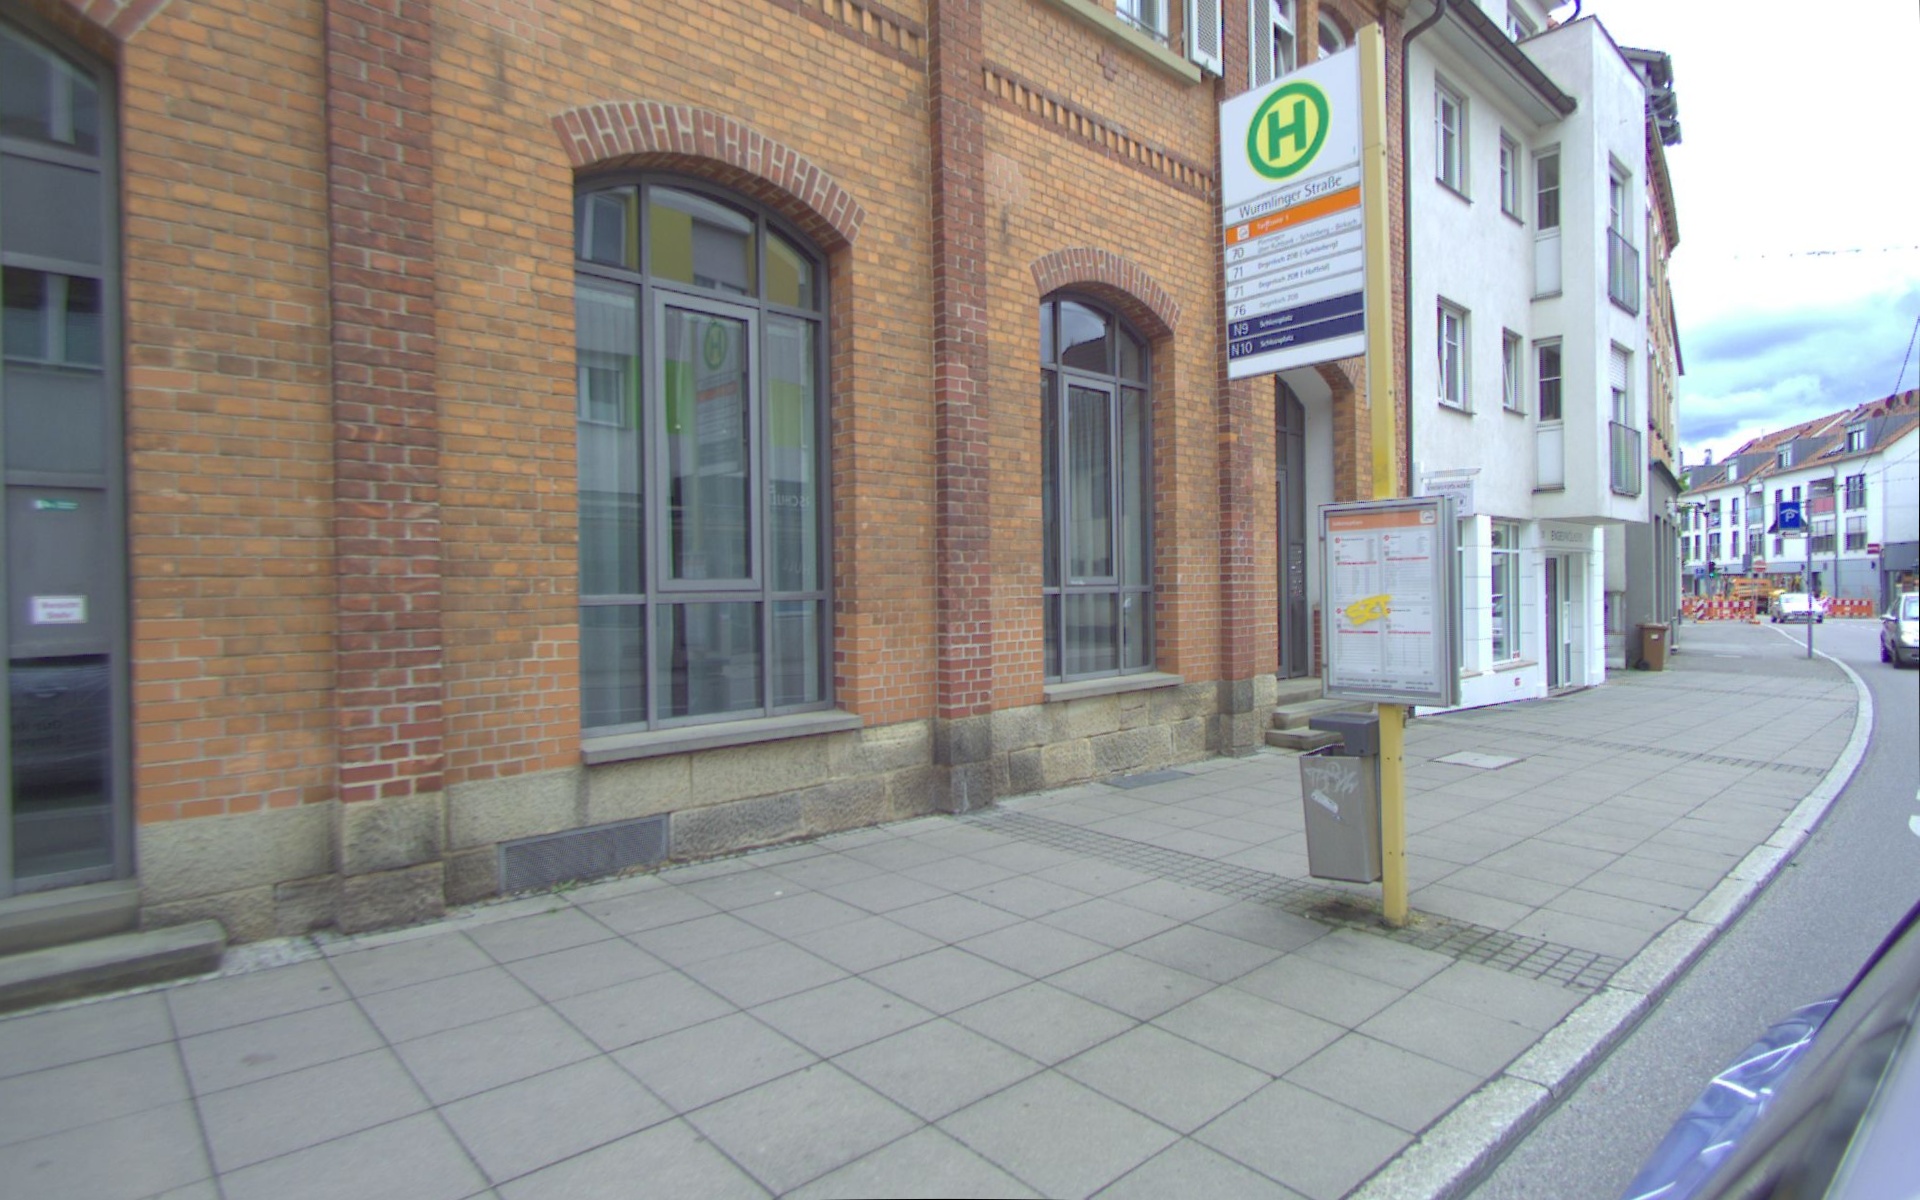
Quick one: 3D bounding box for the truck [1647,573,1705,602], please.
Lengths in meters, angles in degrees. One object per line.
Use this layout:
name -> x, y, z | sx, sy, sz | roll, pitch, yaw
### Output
truck -> 64.551, -1.109, 91.368 | 2.388, 2.497, 6.272 | 1, 0, 17

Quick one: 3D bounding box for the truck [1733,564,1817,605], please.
truck -> 58.344, -1.055, 72.629 | 2.707, 2.759, 6.799 | 0, 0, 21

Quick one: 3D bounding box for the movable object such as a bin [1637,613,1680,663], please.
movable object such as a bin -> 13.850, 0.741, 20.066 | 0.619, 0.932, 0.572 | 0, 0, 43

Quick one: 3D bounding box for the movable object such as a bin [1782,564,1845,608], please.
movable object such as a bin -> 55.244, -0.936, 65.583 | 1.824, 2.797, 4.472 | 0, 1, 22

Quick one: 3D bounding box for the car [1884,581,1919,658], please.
car -> 21.398, 0.426, 21.811 | 1.849, 1.576, 4.292 | 1, 0, 38
